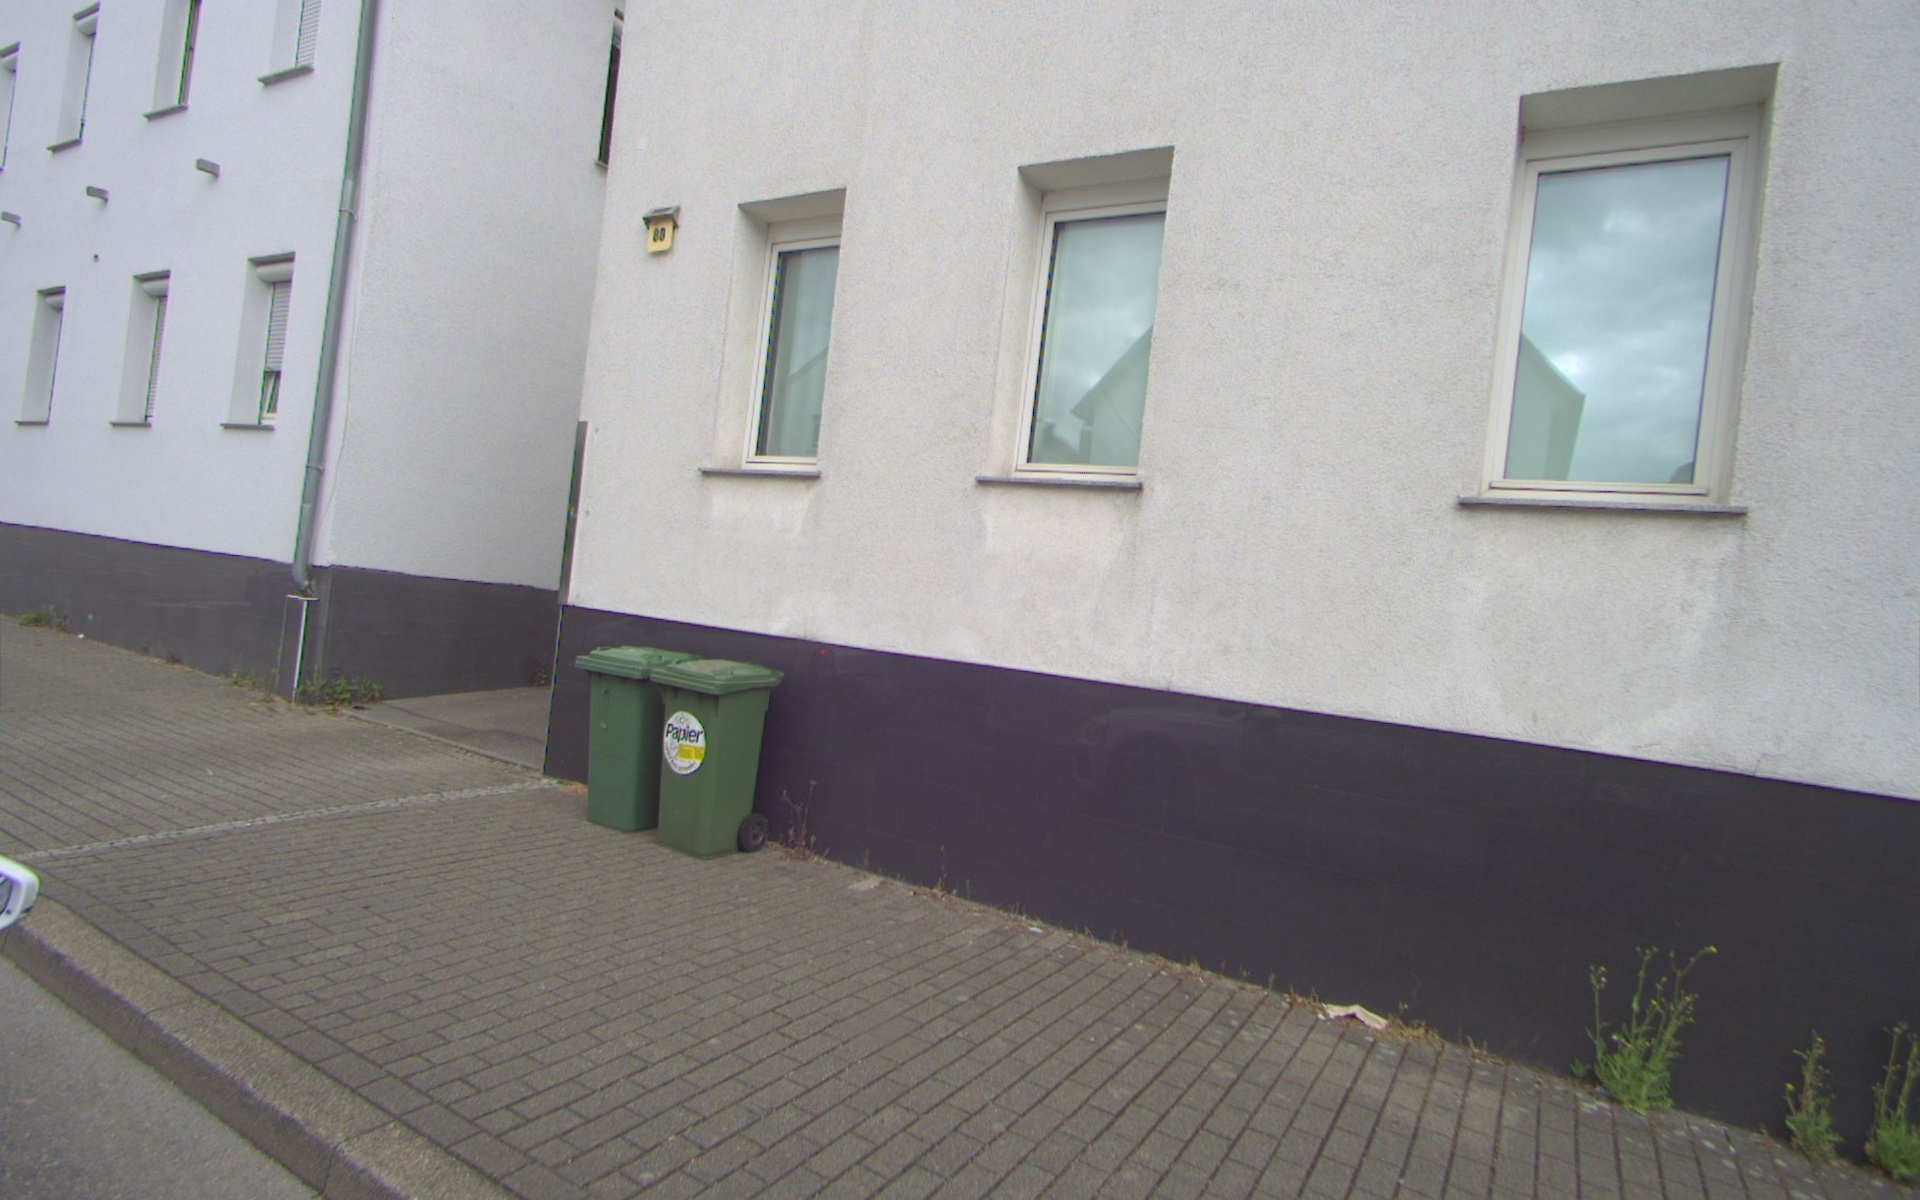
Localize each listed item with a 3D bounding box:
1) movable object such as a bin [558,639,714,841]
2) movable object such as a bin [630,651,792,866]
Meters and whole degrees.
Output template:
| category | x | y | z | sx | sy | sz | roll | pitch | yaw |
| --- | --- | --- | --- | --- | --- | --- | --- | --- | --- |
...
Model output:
| category | x | y | z | sx | sy | sz | roll | pitch | yaw |
| --- | --- | --- | --- | --- | --- | --- | --- | --- | --- |
| movable object such as a bin | -1.706 | 0.708 | 5.317 | 0.479 | 0.953 | 0.540 | 7 | 2 | 32 |
| movable object such as a bin | -1.248 | 0.761 | 5.060 | 0.479 | 0.953 | 0.540 | 7 | 2 | 32 |
